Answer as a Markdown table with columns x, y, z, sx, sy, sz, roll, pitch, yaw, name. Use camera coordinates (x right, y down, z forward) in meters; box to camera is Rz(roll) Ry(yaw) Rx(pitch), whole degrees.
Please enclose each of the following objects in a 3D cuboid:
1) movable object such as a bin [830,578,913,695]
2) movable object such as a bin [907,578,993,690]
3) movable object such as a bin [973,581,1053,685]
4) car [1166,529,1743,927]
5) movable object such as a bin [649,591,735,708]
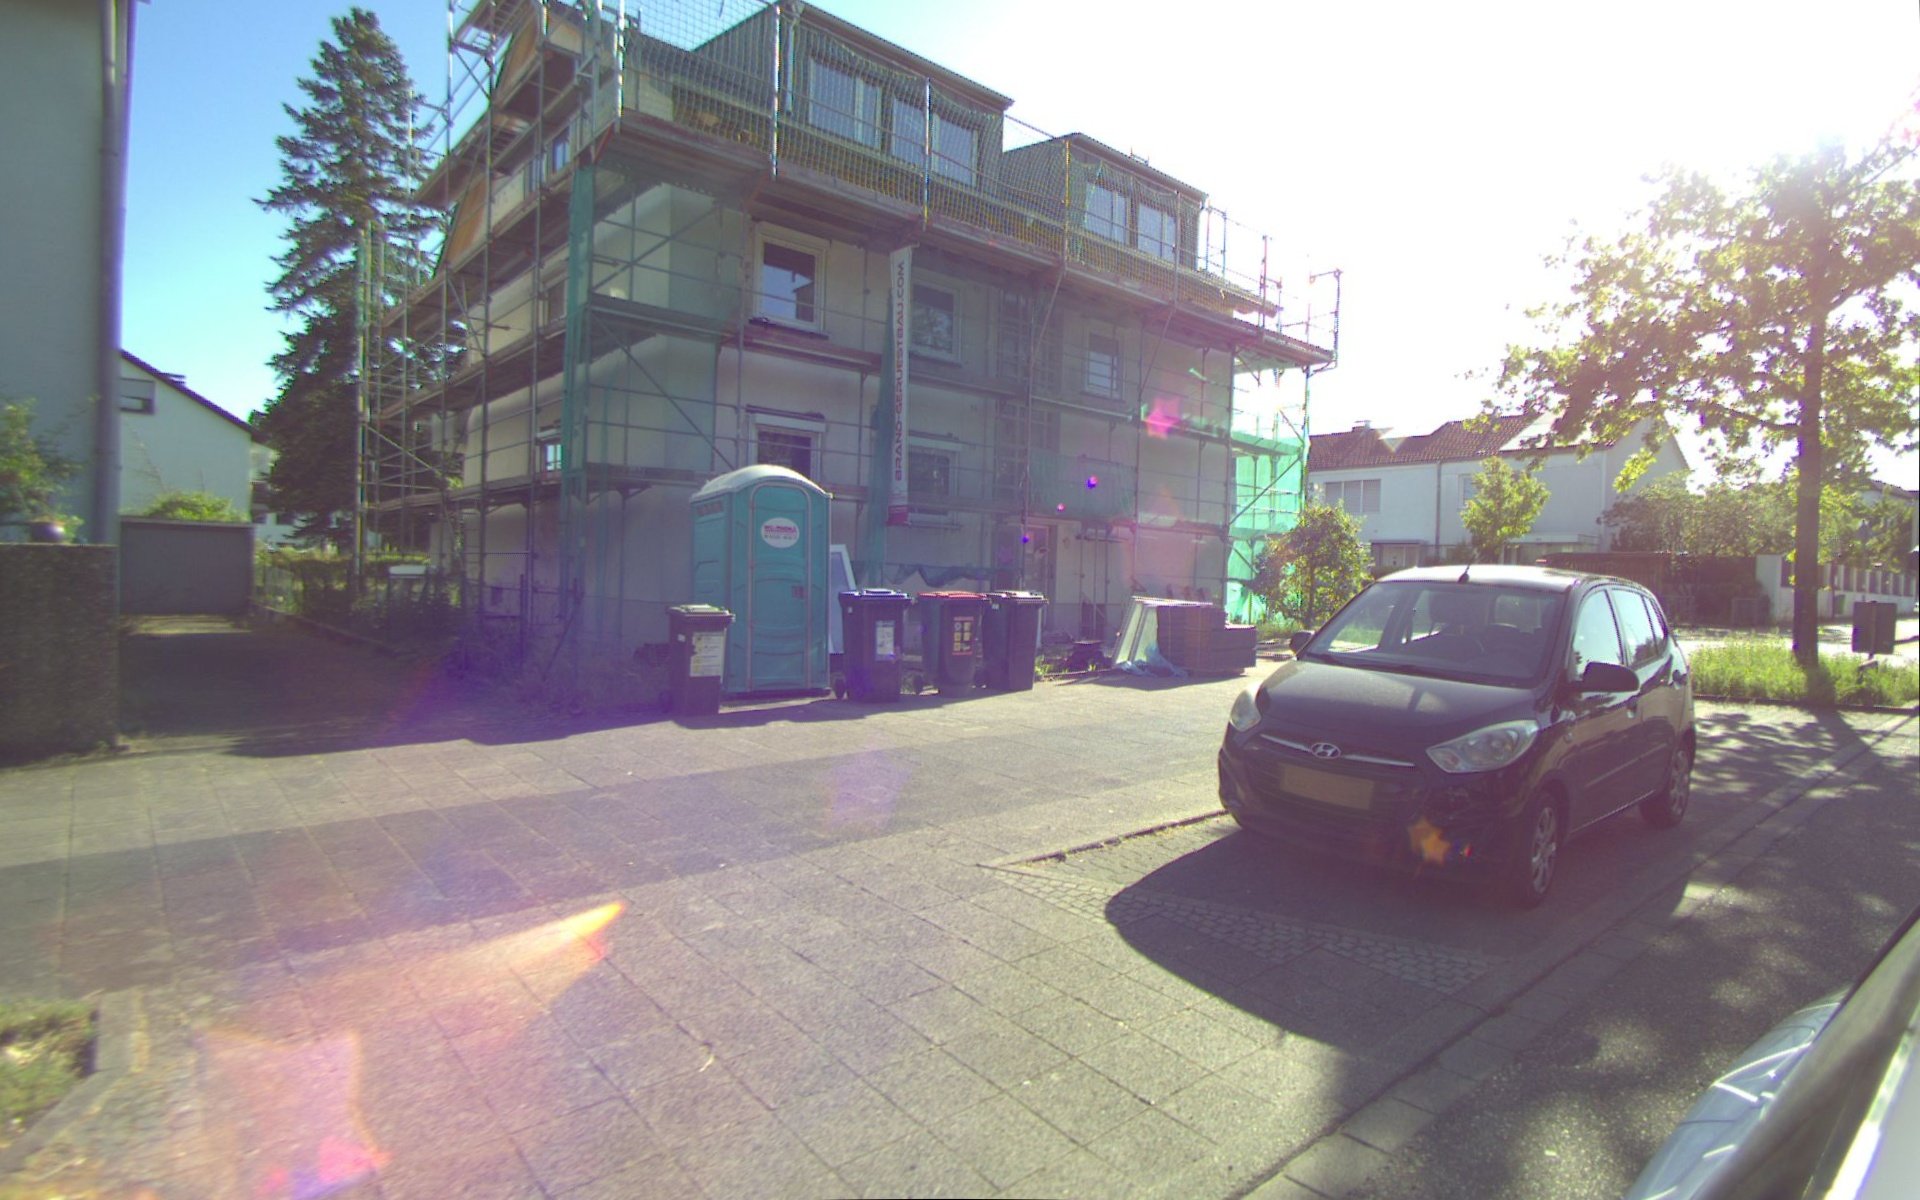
| x | y | z | sx | sy | sz | roll | pitch | yaw | name |
| --- | --- | --- | --- | --- | --- | --- | --- | --- | --- |
| -0.866 | 0.334 | 9.865 | 0.557 | 1.082 | 0.605 | -1 | 2 | -41 | movable object such as a bin |
| -0.106 | 0.326 | 10.371 | 0.635 | 1.082 | 0.605 | -1 | 2 | -41 | movable object such as a bin |
| 0.583 | 0.337 | 11.119 | 0.635 | 1.082 | 0.605 | -1 | 2 | -41 | movable object such as a bin |
| 3.051 | 0.453 | 5.928 | 3.686 | 1.597 | 1.676 | -1 | 4 | -41 | car |
| -2.303 | 0.401 | 8.693 | 0.540 | 0.944 | 0.530 | -1 | 2 | -41 | movable object such as a bin |
